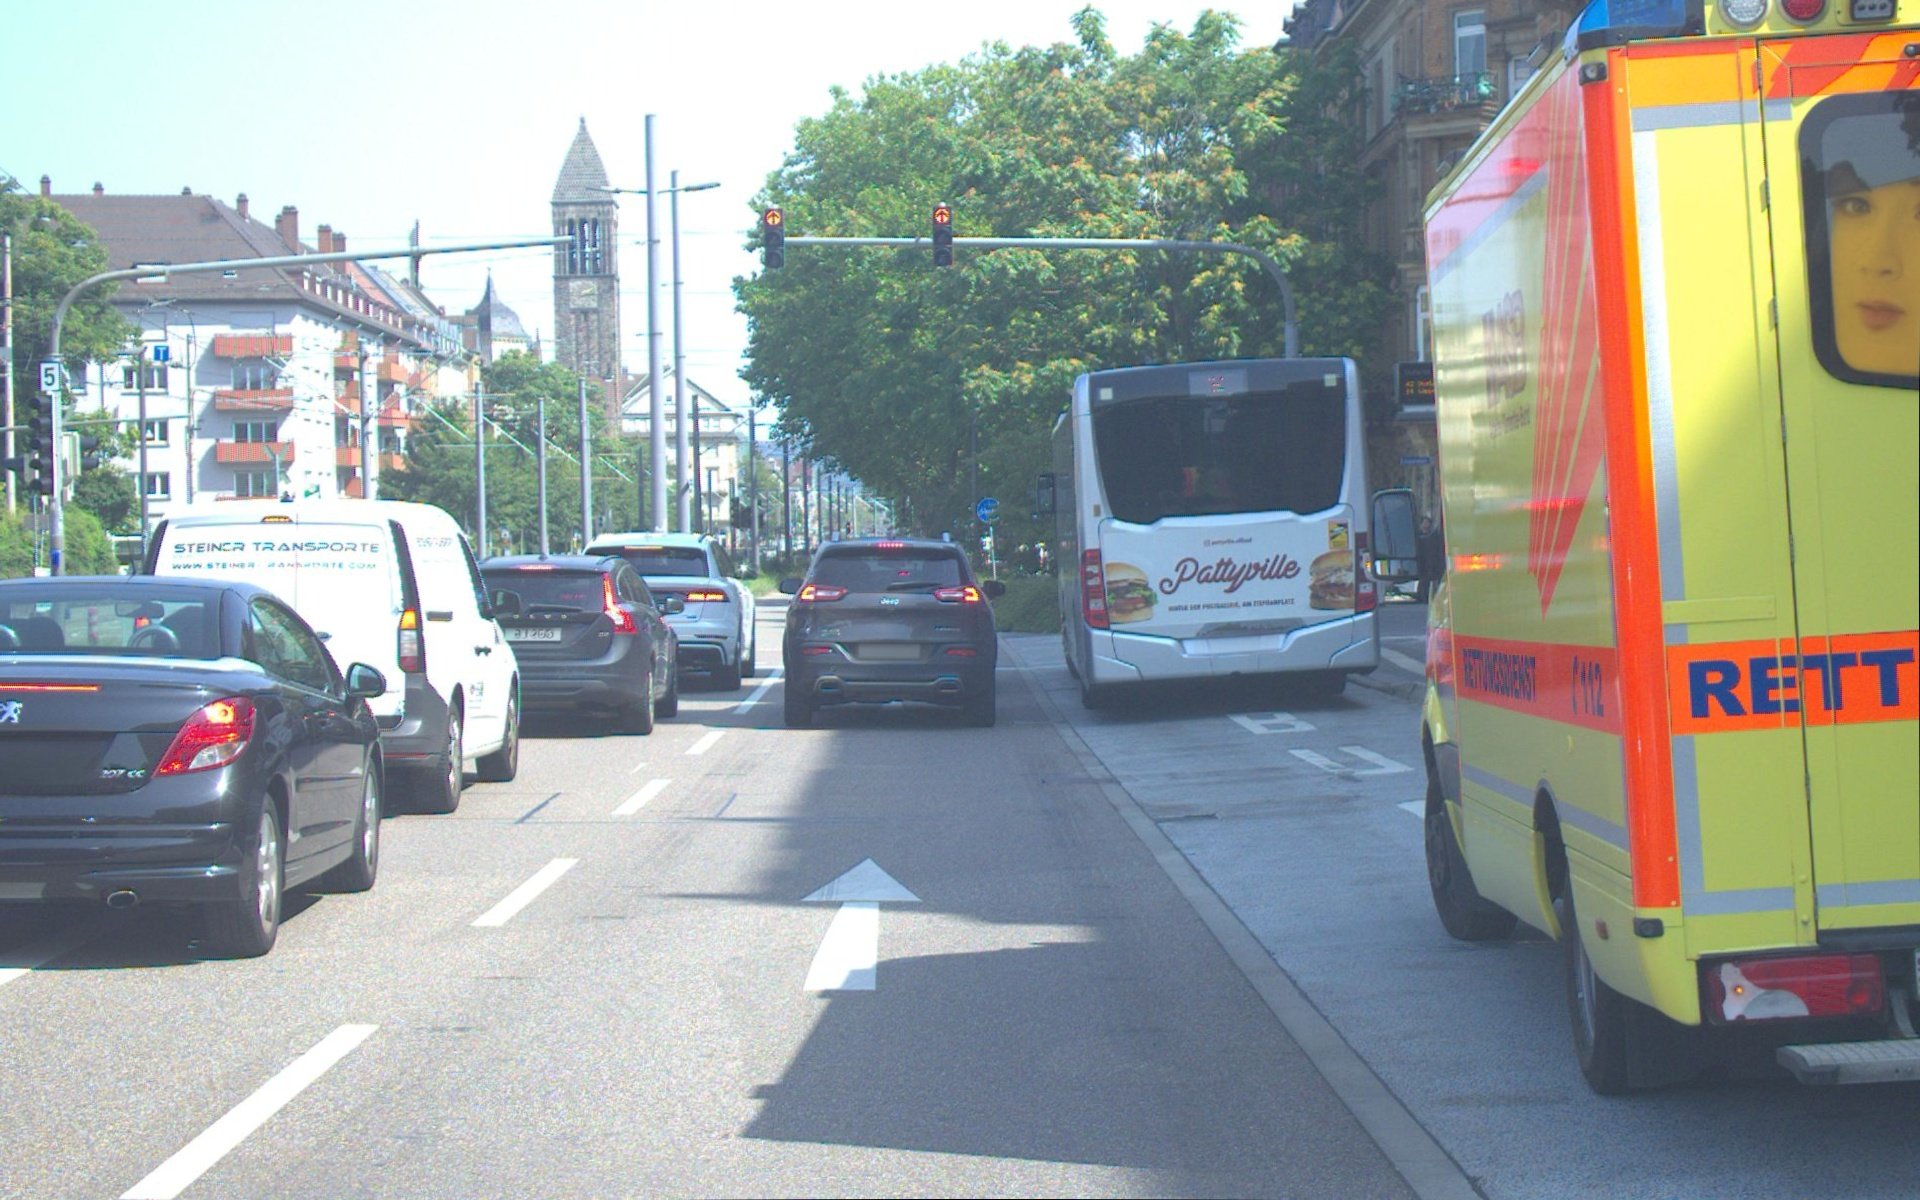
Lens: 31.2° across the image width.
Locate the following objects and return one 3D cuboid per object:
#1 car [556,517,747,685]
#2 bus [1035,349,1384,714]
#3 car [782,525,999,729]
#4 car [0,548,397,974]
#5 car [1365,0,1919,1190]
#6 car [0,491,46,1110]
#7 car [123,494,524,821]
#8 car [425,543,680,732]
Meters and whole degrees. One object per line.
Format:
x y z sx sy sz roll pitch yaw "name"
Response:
-3.272 0.003 37.075 1.790 1.692 4.000 -1 0 -2 "car"
2.243 -0.685 35.178 2.534 3.021 12.436 -1 1 0 "bus"
-0.637 0.215 30.695 1.790 1.672 4.000 -1 0 -2 "car"
-3.437 0.534 13.833 1.790 1.426 4.001 -1 1 -2 "car"
2.633 -0.252 10.289 2.299 2.878 5.599 -2 1 2 "car"
-3.426 0.543 7.318 1.762 1.612 4.082 -1 0 1 "car"
-3.759 0.309 20.949 1.790 1.774 4.000 -1 0 -2 "car"
-3.400 0.289 29.297 1.790 1.467 4.000 -1 0 -2 "car"
